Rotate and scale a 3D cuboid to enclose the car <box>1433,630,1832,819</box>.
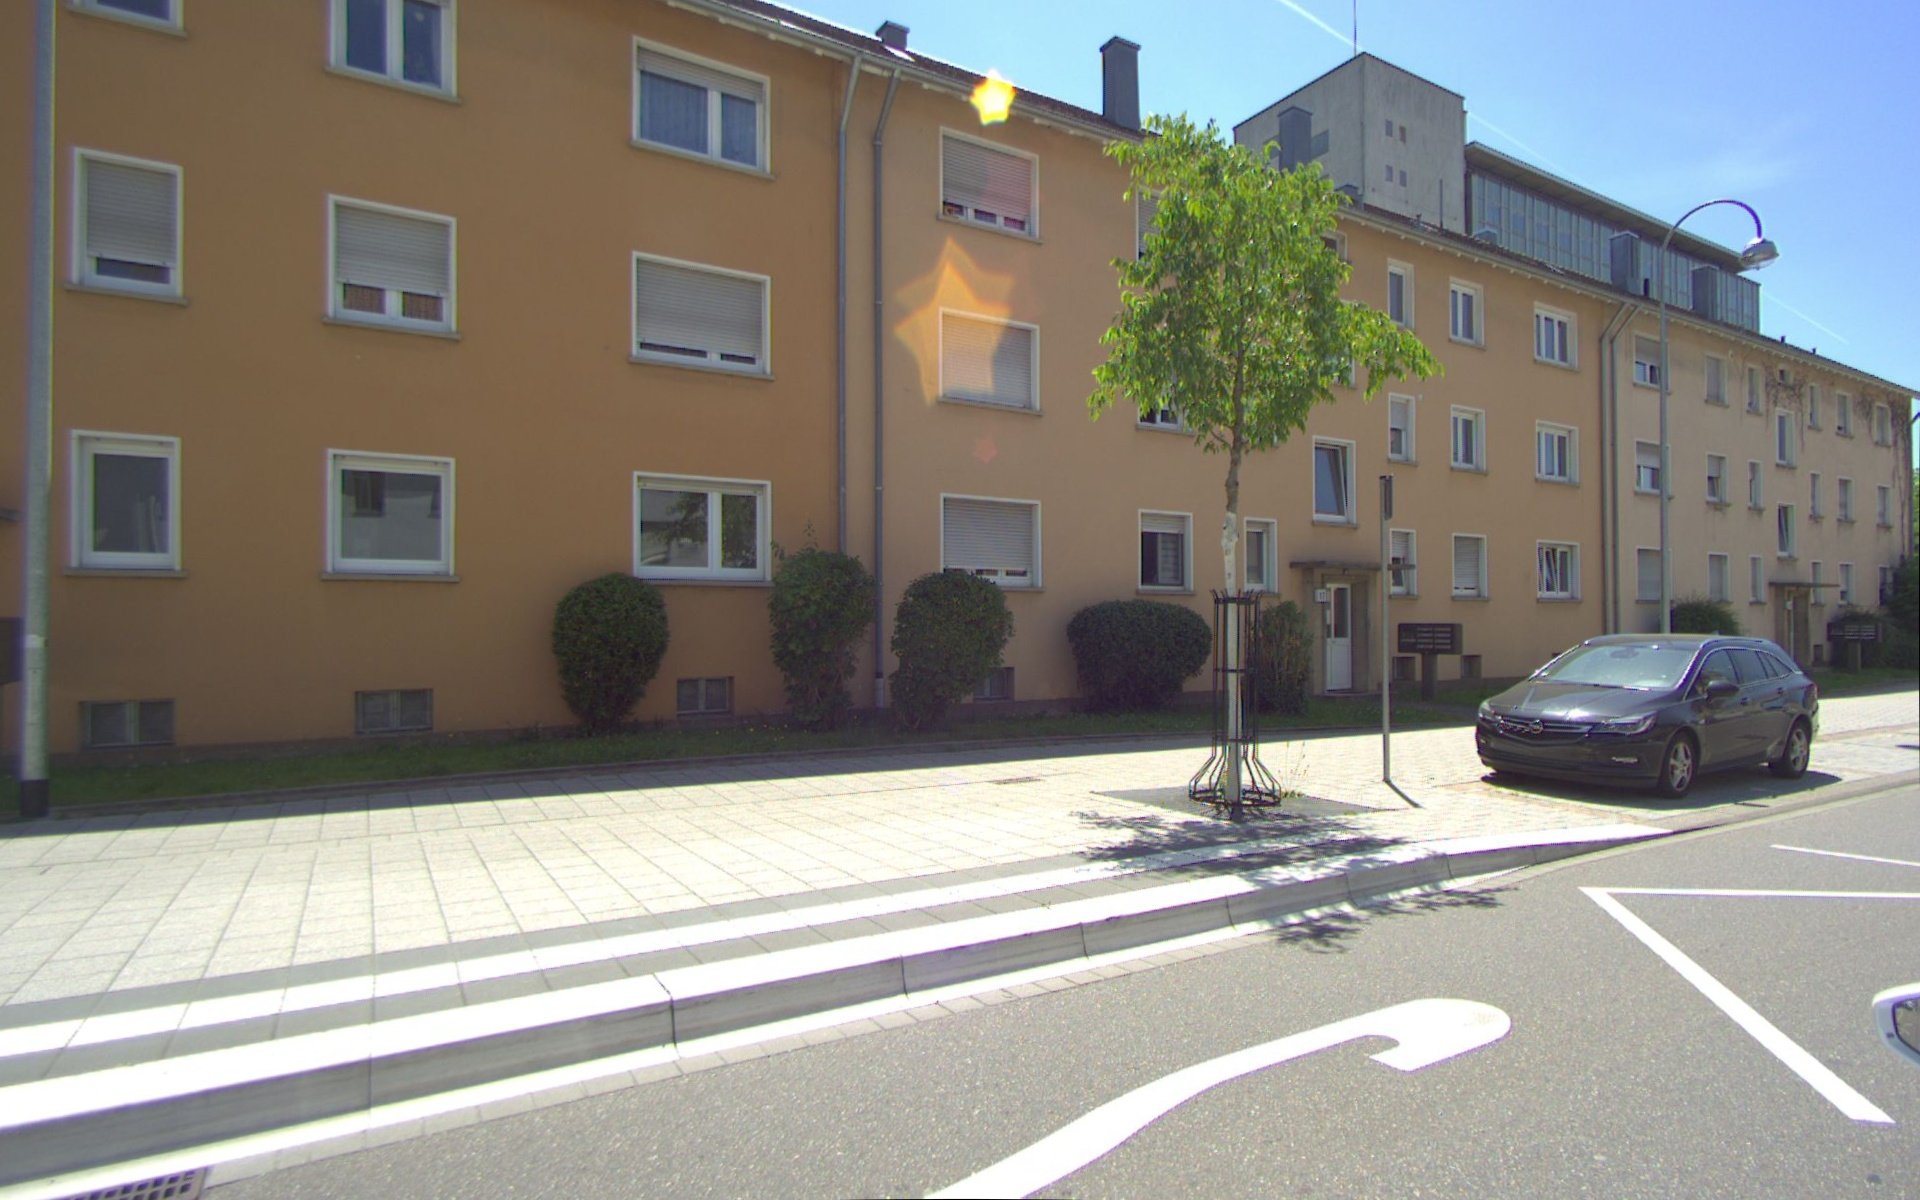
[{"bbox_3d":[7.179,1.126,10.598,4.512,1.527,1.847,1,0,-32],"label":"car"}]
